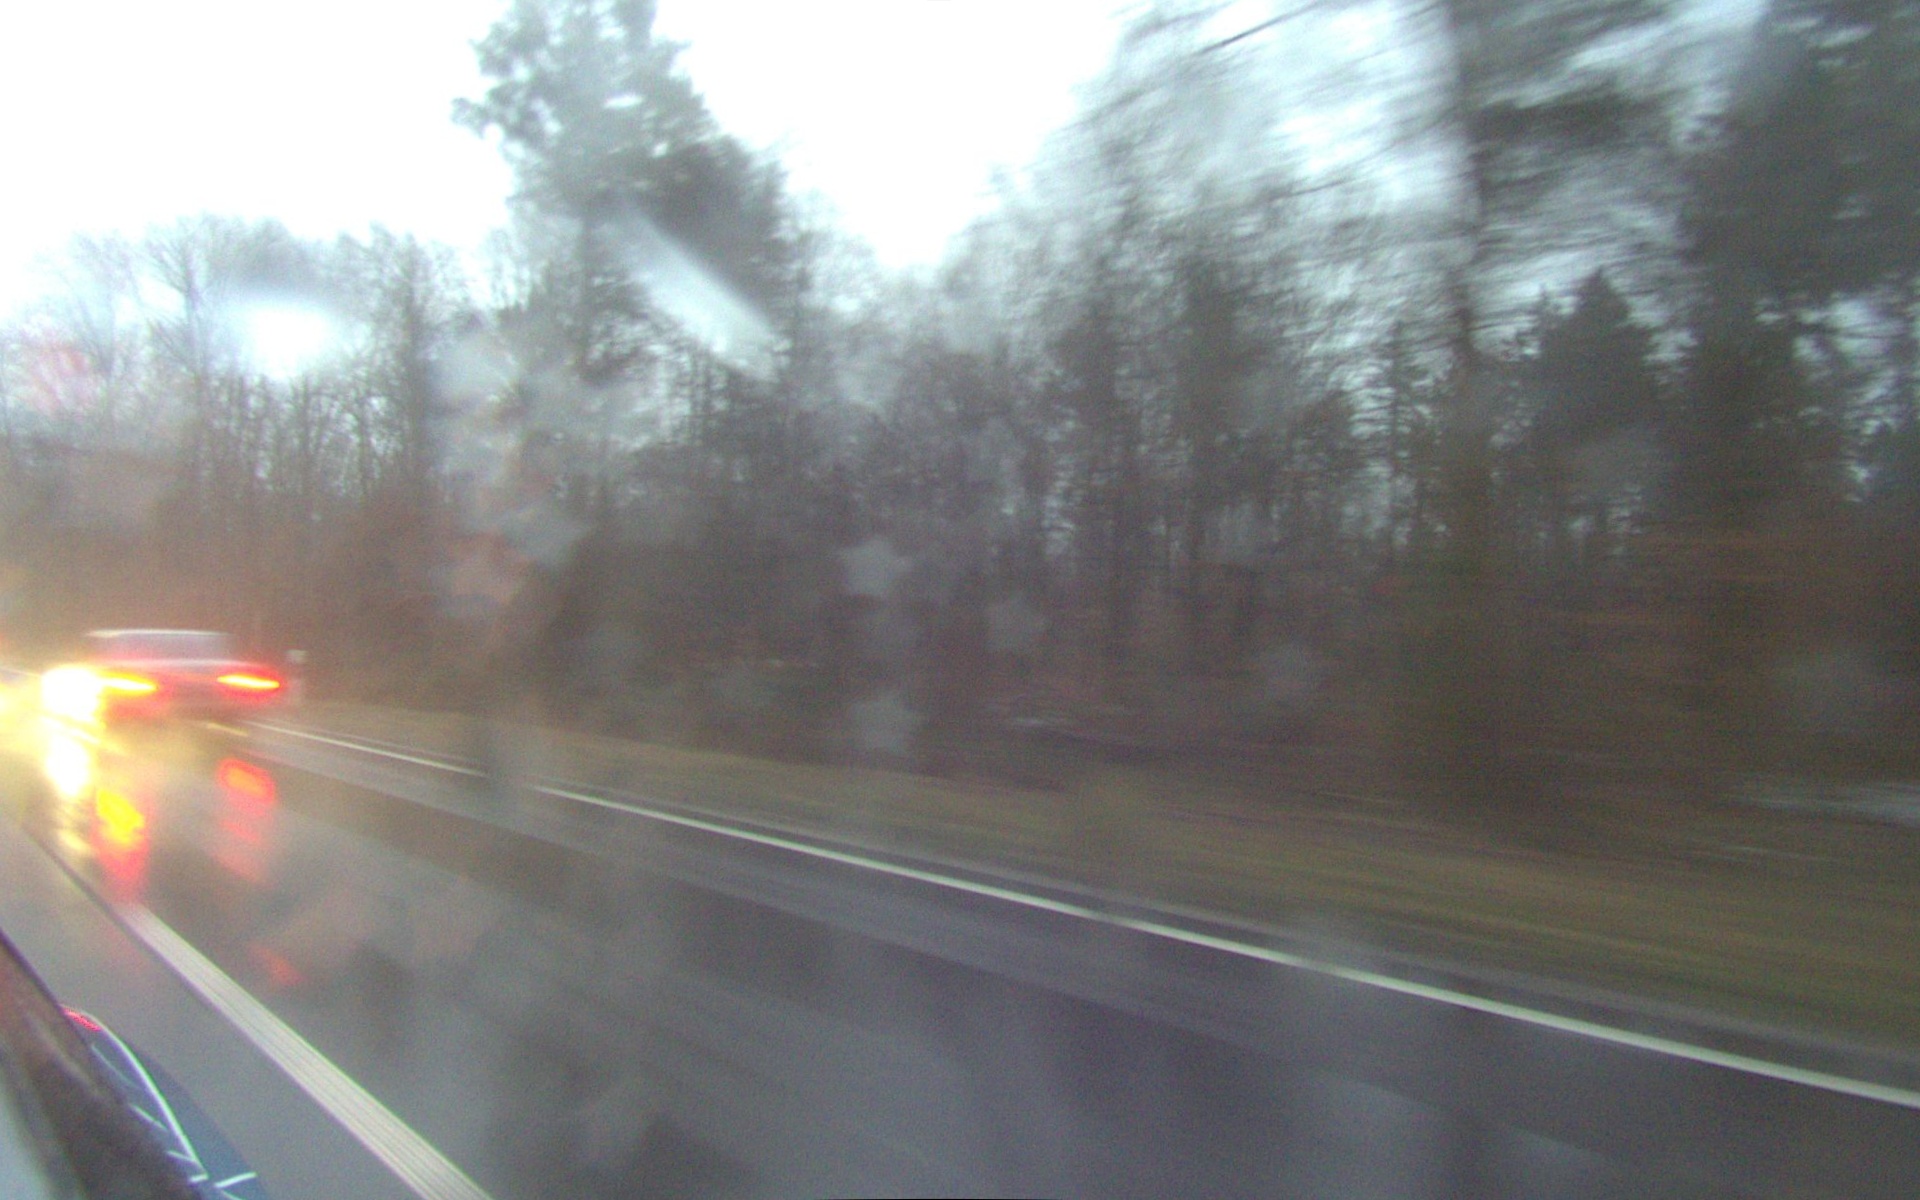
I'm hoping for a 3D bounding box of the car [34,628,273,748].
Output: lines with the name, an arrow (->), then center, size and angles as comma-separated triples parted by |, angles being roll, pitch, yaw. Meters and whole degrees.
car -> -11.015, 1.109, 13.707 | 4.373, 1.374, 1.686 | -2, -4, 40
